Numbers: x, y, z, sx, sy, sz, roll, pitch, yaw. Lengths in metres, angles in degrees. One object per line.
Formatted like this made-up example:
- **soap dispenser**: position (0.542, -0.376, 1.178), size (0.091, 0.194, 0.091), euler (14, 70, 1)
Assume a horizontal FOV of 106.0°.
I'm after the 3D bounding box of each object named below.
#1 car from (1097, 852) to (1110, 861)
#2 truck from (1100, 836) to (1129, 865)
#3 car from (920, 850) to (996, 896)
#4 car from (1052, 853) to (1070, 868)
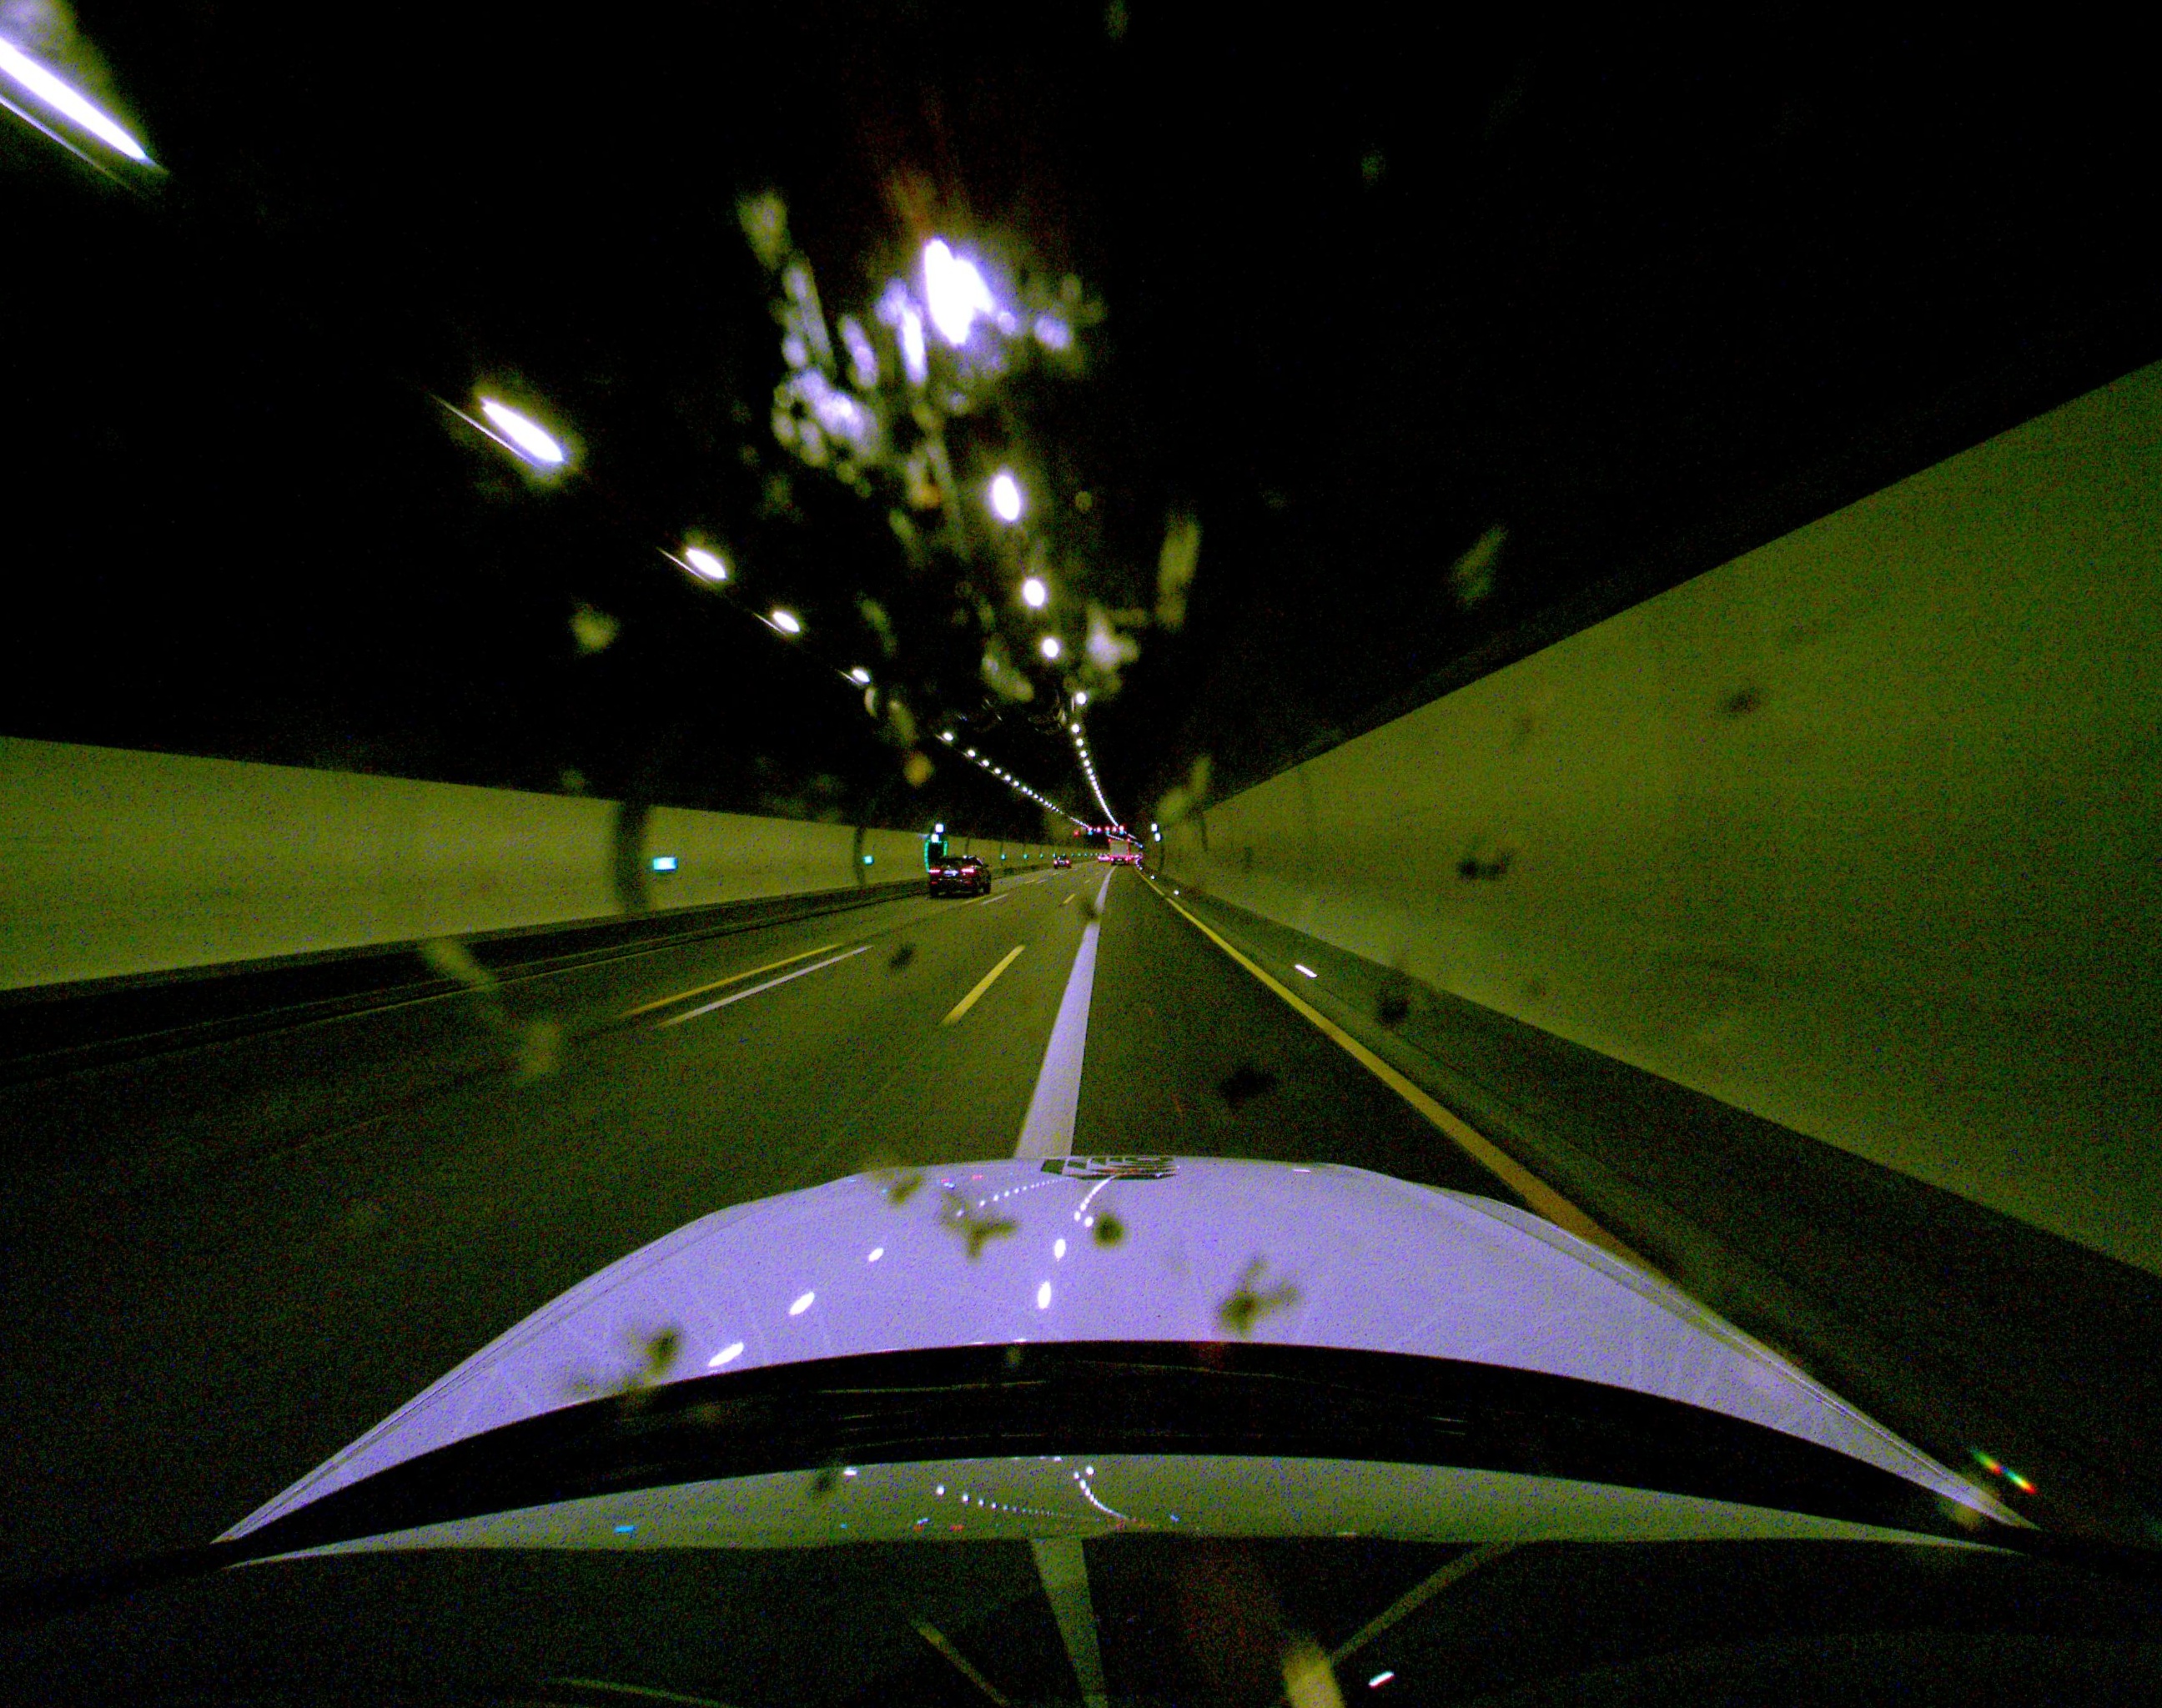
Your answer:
- **car**: position (4.037, 0.377, 146.517), size (1.984, 1.412, 4.749), euler (-3, 1, 5)
- **truck**: position (4.563, -0.534, 112.277), size (3.579, 3.650, 10.726), euler (-3, 1, 1)
- **car**: position (-4.714, 0.677, 31.987), size (1.985, 1.540, 4.746), euler (-3, 0, 3)
- **car**: position (-2.083, 0.702, 87.591), size (1.683, 1.417, 3.924), euler (-3, 1, 1)
